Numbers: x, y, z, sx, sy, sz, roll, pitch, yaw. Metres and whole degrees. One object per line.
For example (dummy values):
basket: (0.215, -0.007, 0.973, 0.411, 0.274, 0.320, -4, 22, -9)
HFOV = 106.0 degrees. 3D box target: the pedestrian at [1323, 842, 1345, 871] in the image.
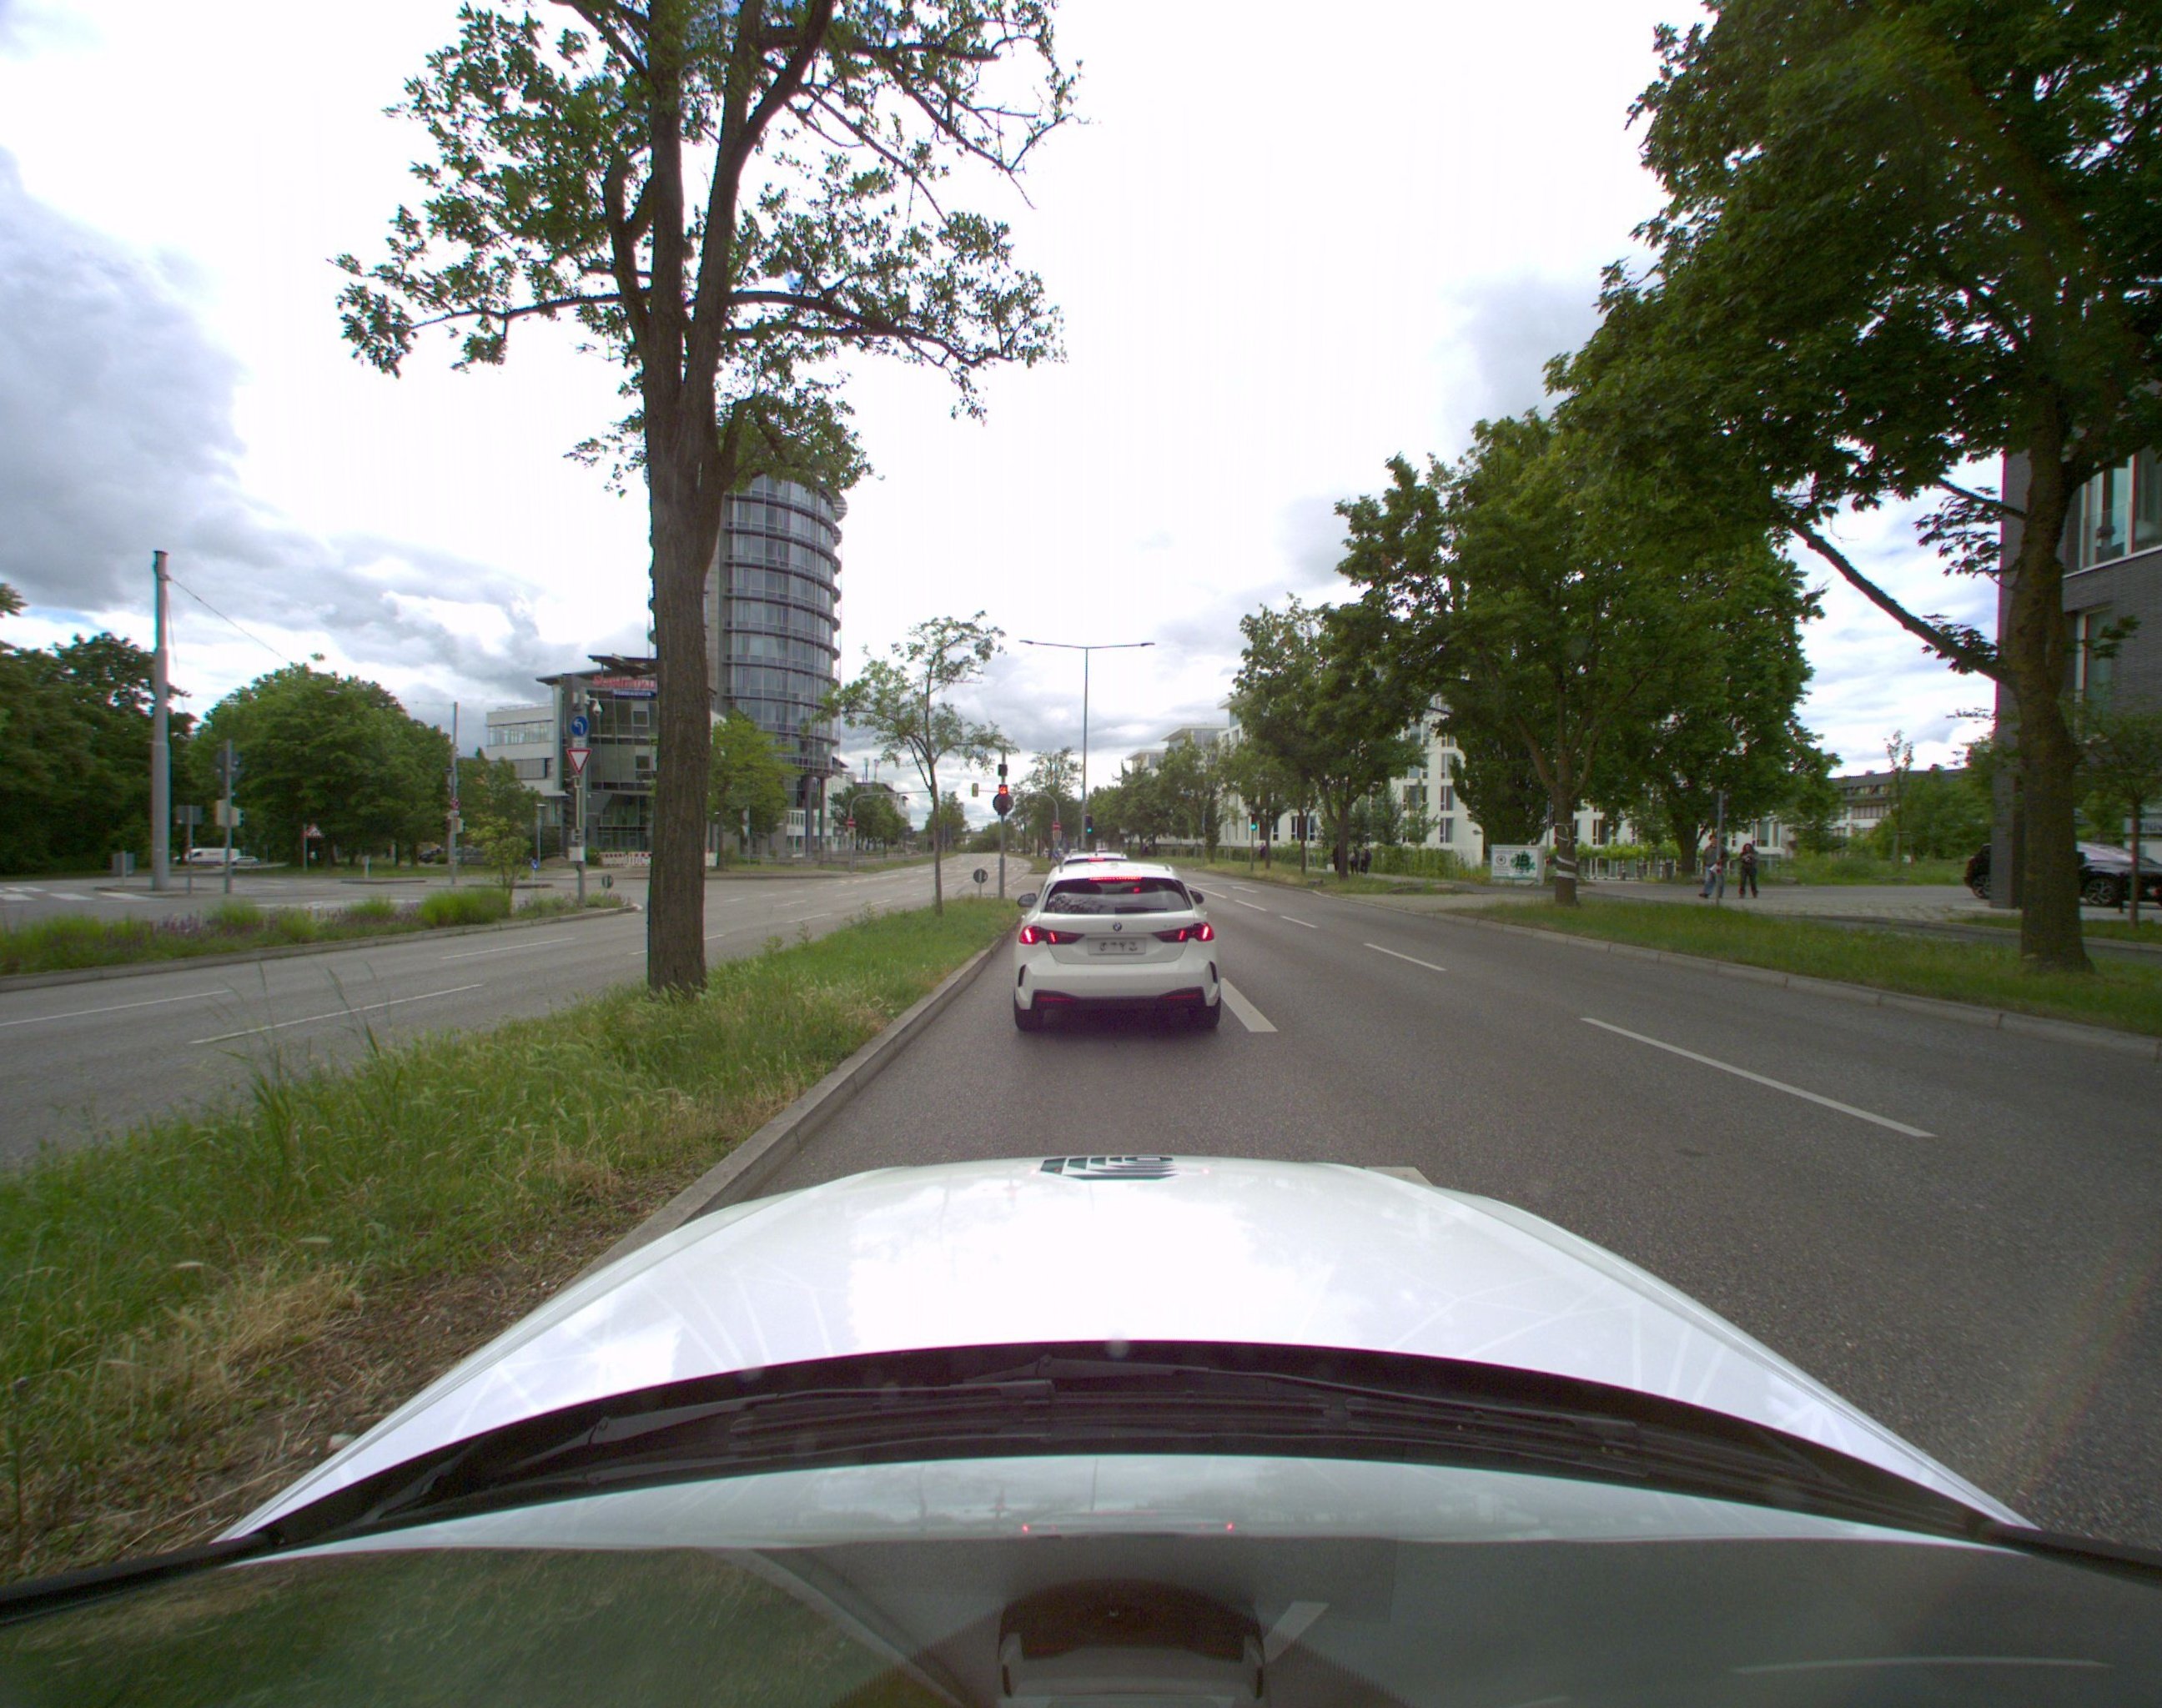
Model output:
pedestrian: (12.808, 0.109, 41.298, 0.786, 1.448, 1.112, 0, -1, 1)

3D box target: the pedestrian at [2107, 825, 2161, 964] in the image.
pedestrian: (13.332, 0.482, 9.746, 0.791, 1.660, 1.061, 0, 0, 7)

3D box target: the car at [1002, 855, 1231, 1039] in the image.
car: (0.344, 0.736, 8.450, 1.815, 1.438, 4.002, 0, 0, 2)

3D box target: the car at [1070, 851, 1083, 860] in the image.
car: (-0.713, 0.207, 127.167, 1.690, 1.486, 3.686, 0, 0, -5)

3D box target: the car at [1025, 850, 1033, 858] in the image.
car: (-12.336, -0.005, 193.426, 1.597, 1.666, 3.997, 0, 0, -2)

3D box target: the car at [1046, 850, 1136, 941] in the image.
car: (0.238, 0.709, 15.977, 1.544, 1.569, 4.002, 0, 0, 2)

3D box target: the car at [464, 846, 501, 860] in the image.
car: (-37.365, -0.061, 50.883, 0.766, 0.876, 1.730, 0, 0, 38)

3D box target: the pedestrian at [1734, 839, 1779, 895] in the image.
pedestrian: (19.330, 0.356, 23.292, 0.880, 1.557, 0.825, 0, 0, -38)

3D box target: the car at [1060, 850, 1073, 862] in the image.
car: (-2.103, 0.277, 119.993, 1.692, 1.717, 3.994, 0, 0, -4)

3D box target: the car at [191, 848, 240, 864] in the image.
car: (-128.773, 0.263, 121.206, 1.978, 2.339, 4.570, -1, -1, 16)

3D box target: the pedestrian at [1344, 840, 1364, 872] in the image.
pedestrian: (13.712, 0.099, 40.923, 0.697, 1.595, 0.883, 0, -1, 1)

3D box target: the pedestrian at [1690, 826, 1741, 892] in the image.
pedestrian: (18.417, 0.150, 23.633, 0.983, 1.868, 0.952, 0, 0, -38)

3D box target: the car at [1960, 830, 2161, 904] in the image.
car: (24.888, 0.292, 20.223, 1.749, 1.646, 4.151, 0, 0, 2)

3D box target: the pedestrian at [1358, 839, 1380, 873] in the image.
pedestrian: (14.491, 0.094, 40.962, 0.764, 1.685, 0.883, 0, -1, 1)

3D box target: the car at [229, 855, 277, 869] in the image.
car: (-123.559, 1.177, 121.550, 1.978, 2.034, 4.570, 0, 0, 16)

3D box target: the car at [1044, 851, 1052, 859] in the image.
car: (-6.986, 0.234, 173.511, 1.734, 1.666, 3.997, 0, 0, -2)

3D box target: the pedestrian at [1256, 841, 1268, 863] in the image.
pedestrian: (13.035, -0.153, 58.726, 0.739, 1.574, 0.674, 0, -1, 0)

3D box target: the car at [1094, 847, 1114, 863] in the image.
car: (2.604, 0.102, 91.915, 1.988, 1.670, 3.998, -2, 0, -1)
